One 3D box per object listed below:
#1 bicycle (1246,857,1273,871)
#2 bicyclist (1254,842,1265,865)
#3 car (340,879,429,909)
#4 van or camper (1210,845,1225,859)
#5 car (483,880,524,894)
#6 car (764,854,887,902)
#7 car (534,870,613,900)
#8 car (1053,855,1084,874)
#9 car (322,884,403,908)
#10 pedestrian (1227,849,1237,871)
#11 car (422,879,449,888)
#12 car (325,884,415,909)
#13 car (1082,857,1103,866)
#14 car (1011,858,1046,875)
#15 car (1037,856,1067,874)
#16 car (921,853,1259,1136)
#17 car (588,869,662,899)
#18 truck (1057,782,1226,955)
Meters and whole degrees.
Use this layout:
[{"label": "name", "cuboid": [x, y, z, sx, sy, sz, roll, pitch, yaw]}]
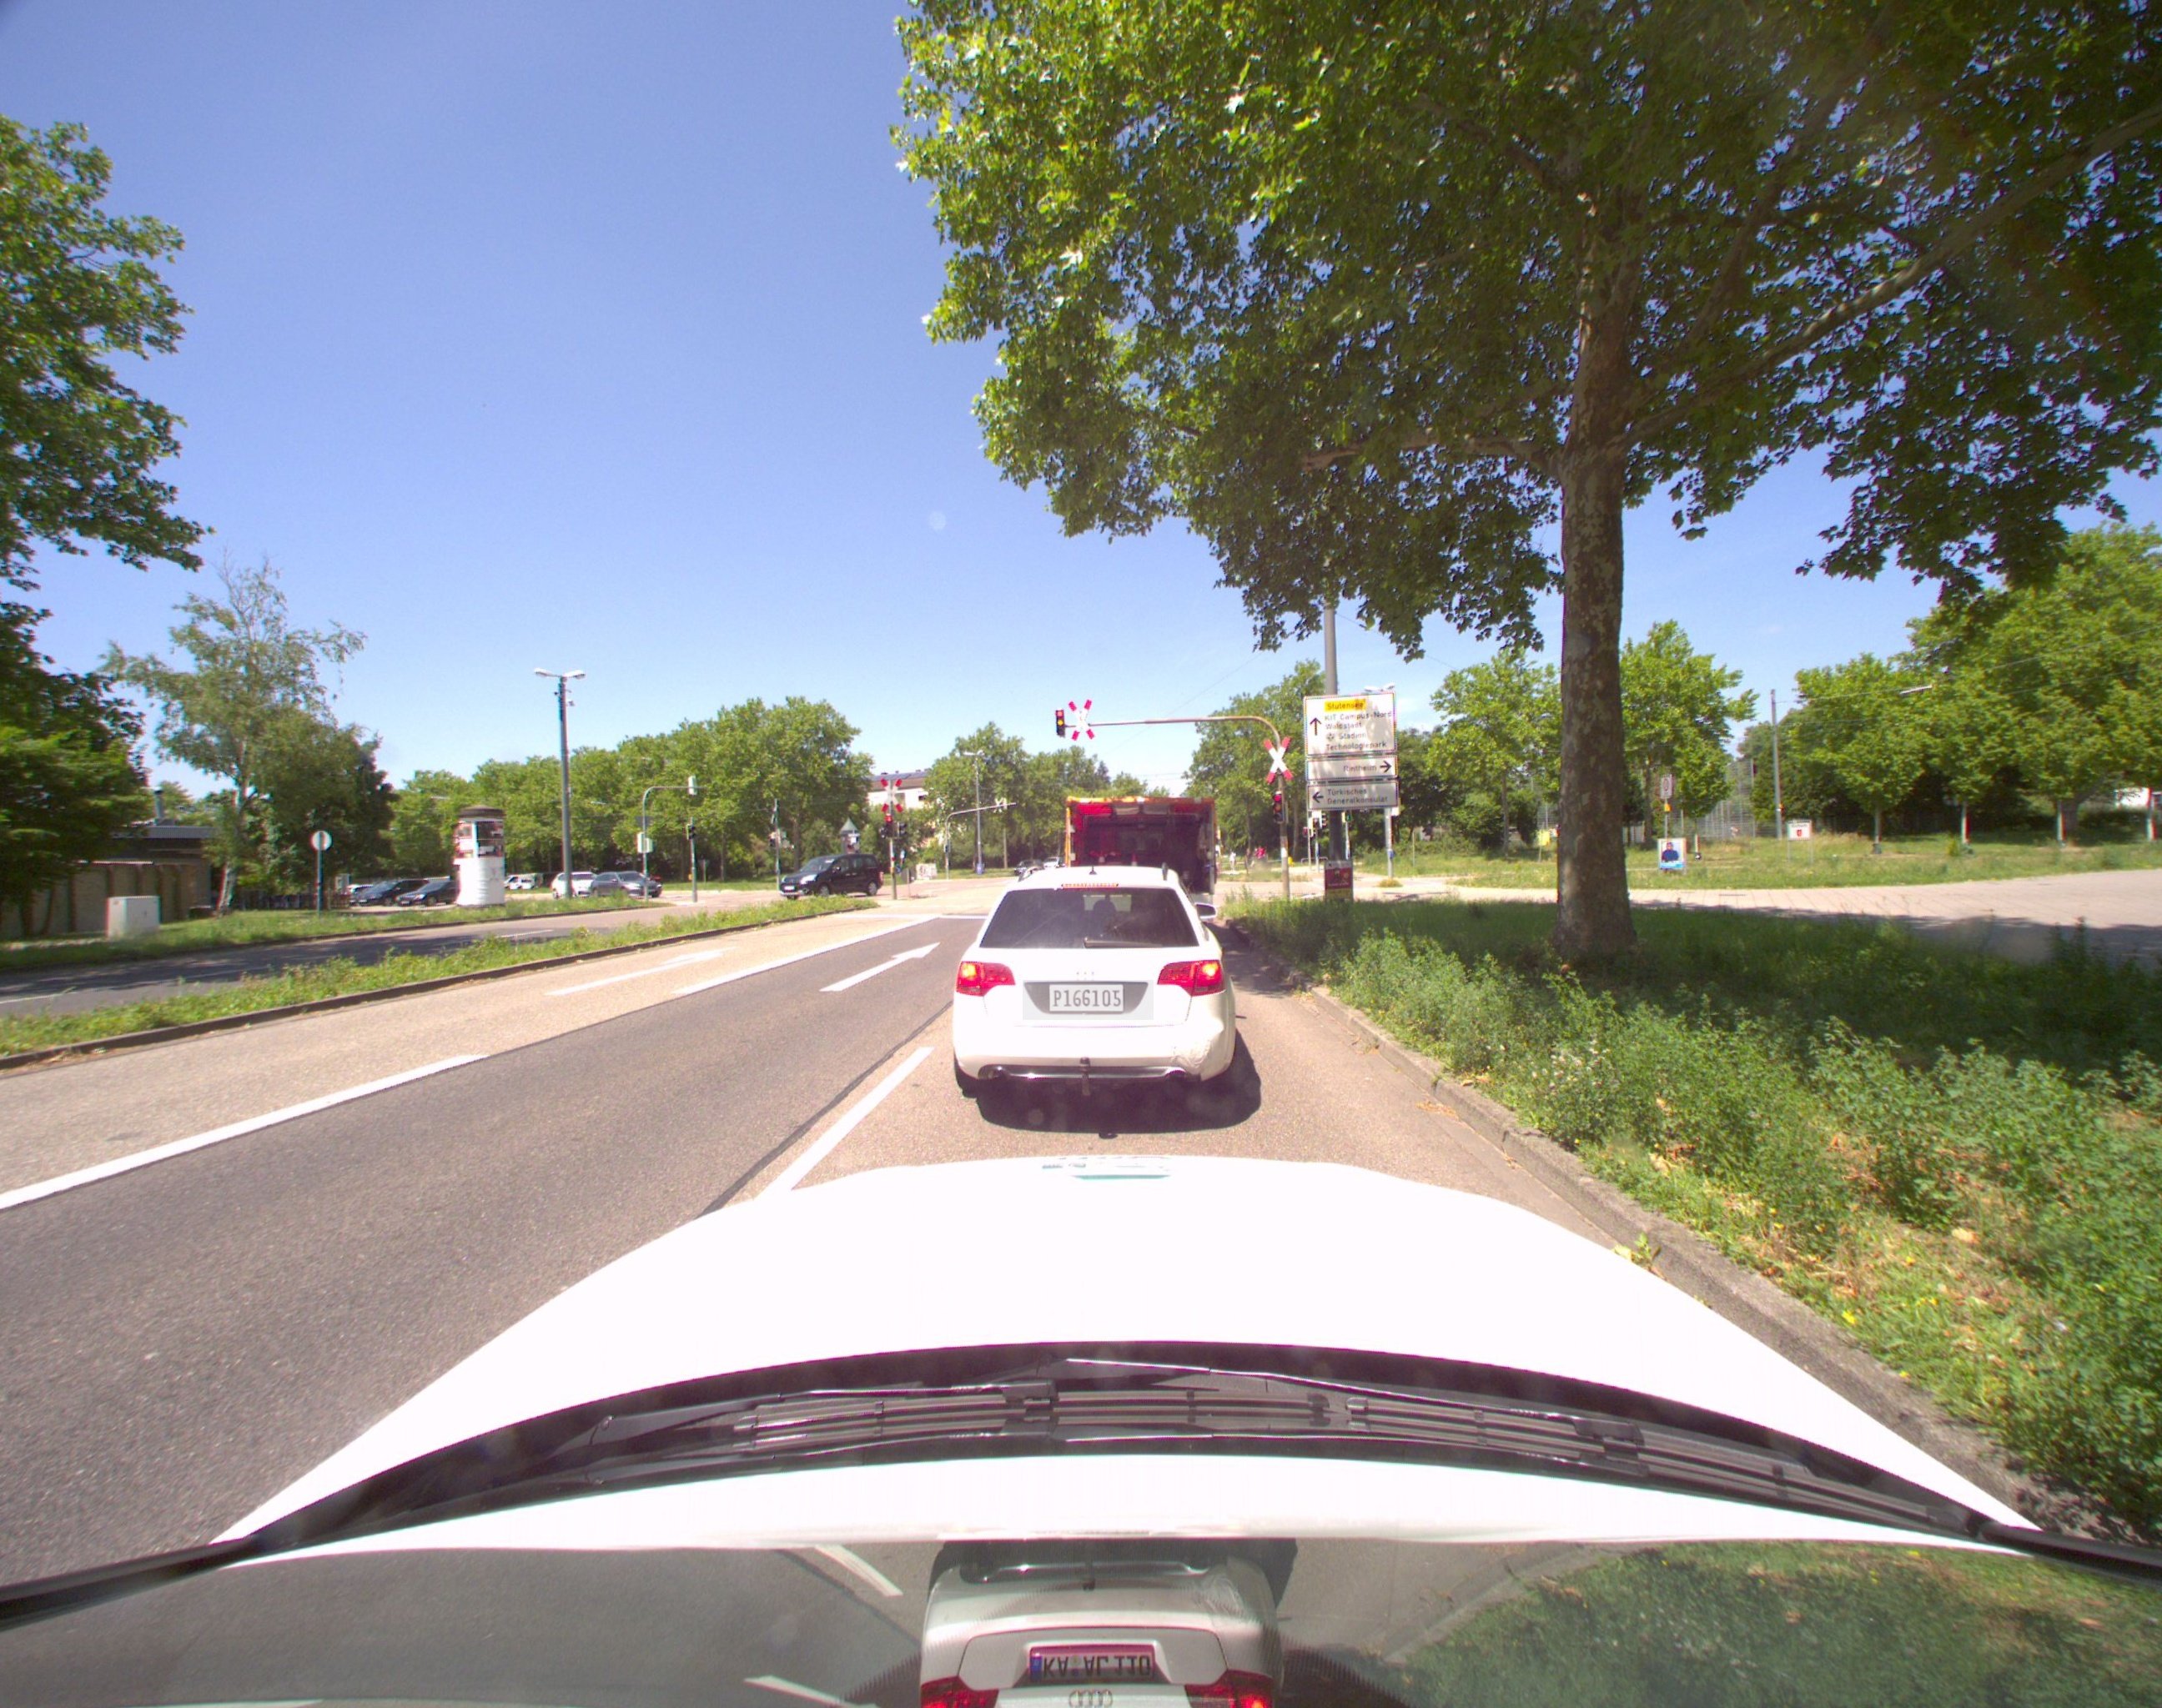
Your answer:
[{"label": "bicycle", "cuboid": [12.206, 0.666, 55.649, 1.793, 0.896, 0.591, -1, -1, 12]}, {"label": "bicyclist", "cuboid": [12.186, -0.015, 55.660, 0.667, 1.556, 0.581, -1, -1, 13]}, {"label": "car", "cuboid": [-44.818, 2.550, 52.522, 1.769, 1.651, 4.201, -2, 0, 6]}, {"label": "van or camper", "cuboid": [33.359, -0.526, 198.902, 2.640, 3.331, 5.524, -2, 0, 16]}, {"label": "car", "cuboid": [-66.227, 3.737, 93.416, 1.481, 1.397, 3.572, -2, 0, 29]}, {"label": "car", "cuboid": [-9.994, 0.900, 32.190, 1.893, 1.679, 4.472, -2, 0, 30]}, {"label": "car", "cuboid": [-29.299, 1.806, 47.016, 4.403, 1.604, 2.231, -2, 0, 34]}, {"label": "car", "cuboid": [-1.126, 0.921, 74.326, 1.897, 1.539, 4.312, -2, 0, 11]}, {"label": "car", "cuboid": [-51.827, 3.020, 58.851, 1.930, 1.423, 4.070, -2, 0, 8]}, {"label": "pedestrian", "cuboid": [10.814, 0.429, 58.184, 0.548, 1.484, 0.632, -2, 0, 18]}, {"label": "car", "cuboid": [-88.141, 4.012, 111.237, 0.996, 0.994, 2.738, -2, 0, 31]}, {"label": "car", "cuboid": [-47.536, 2.803, 54.595, 1.863, 1.412, 4.396, -2, 0, 6]}, {"label": "car", "cuboid": [1.949, 1.338, 139.267, 1.864, 1.393, 4.025, -2, 0, 28]}, {"label": "car", "cuboid": [-4.743, 1.108, 73.668, 1.936, 1.440, 4.762, -1, 1, 11]}, {"label": "car", "cuboid": [-2.833, 1.068, 81.007, 1.774, 1.615, 4.421, -2, 0, 14]}, {"label": "car", "cuboid": [0.223, 0.735, 6.057, 1.754, 1.445, 3.622, -1, 0, 6]}, {"label": "car", "cuboid": [-24.073, 1.589, 42.946, 3.941, 1.457, 1.776, -2, 0, 34]}, {"label": "truck", "cuboid": [1.234, 0.238, 15.943, 2.499, 2.559, 7.613, 0, 0, 5]}]
